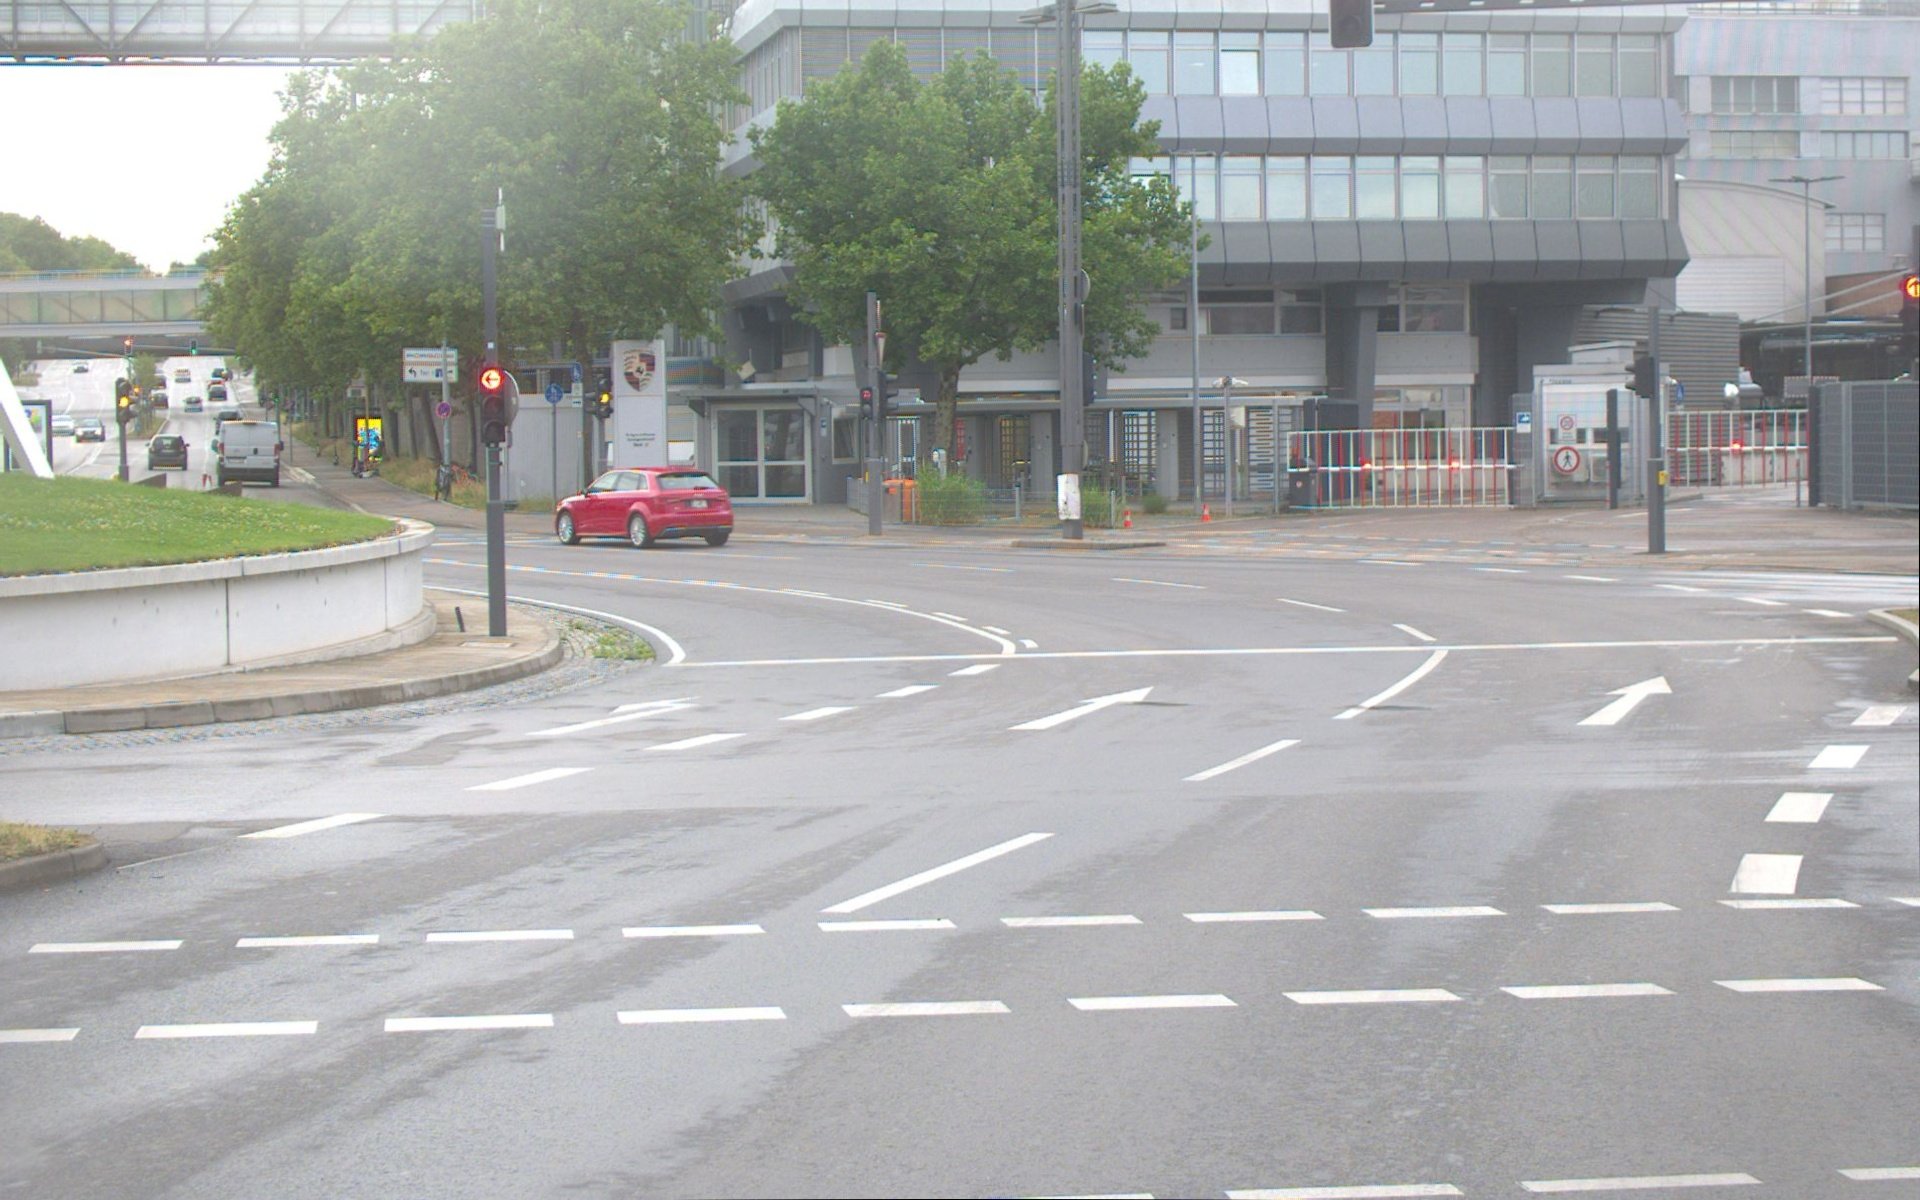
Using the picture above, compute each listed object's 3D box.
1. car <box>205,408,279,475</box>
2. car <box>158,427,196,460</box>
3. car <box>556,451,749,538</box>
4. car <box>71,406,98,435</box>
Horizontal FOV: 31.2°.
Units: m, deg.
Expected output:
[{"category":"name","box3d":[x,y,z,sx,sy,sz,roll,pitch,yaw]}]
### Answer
[{"category":"car","box3d":[-24.688,-5.411,118.088,2.232,2.100,4.956,-1,0,-14]},{"category":"car","box3d":[-34.094,-6.801,149.685,1.556,1.284,3.415,-1,1,-13]},{"category":"car","box3d":[-5.528,-1.864,61.556,1.773,1.459,3.732,-1,1,-36]},{"category":"car","box3d":[-57.107,-11.684,224.266,1.627,1.810,3.734,0,2,-14]}]
